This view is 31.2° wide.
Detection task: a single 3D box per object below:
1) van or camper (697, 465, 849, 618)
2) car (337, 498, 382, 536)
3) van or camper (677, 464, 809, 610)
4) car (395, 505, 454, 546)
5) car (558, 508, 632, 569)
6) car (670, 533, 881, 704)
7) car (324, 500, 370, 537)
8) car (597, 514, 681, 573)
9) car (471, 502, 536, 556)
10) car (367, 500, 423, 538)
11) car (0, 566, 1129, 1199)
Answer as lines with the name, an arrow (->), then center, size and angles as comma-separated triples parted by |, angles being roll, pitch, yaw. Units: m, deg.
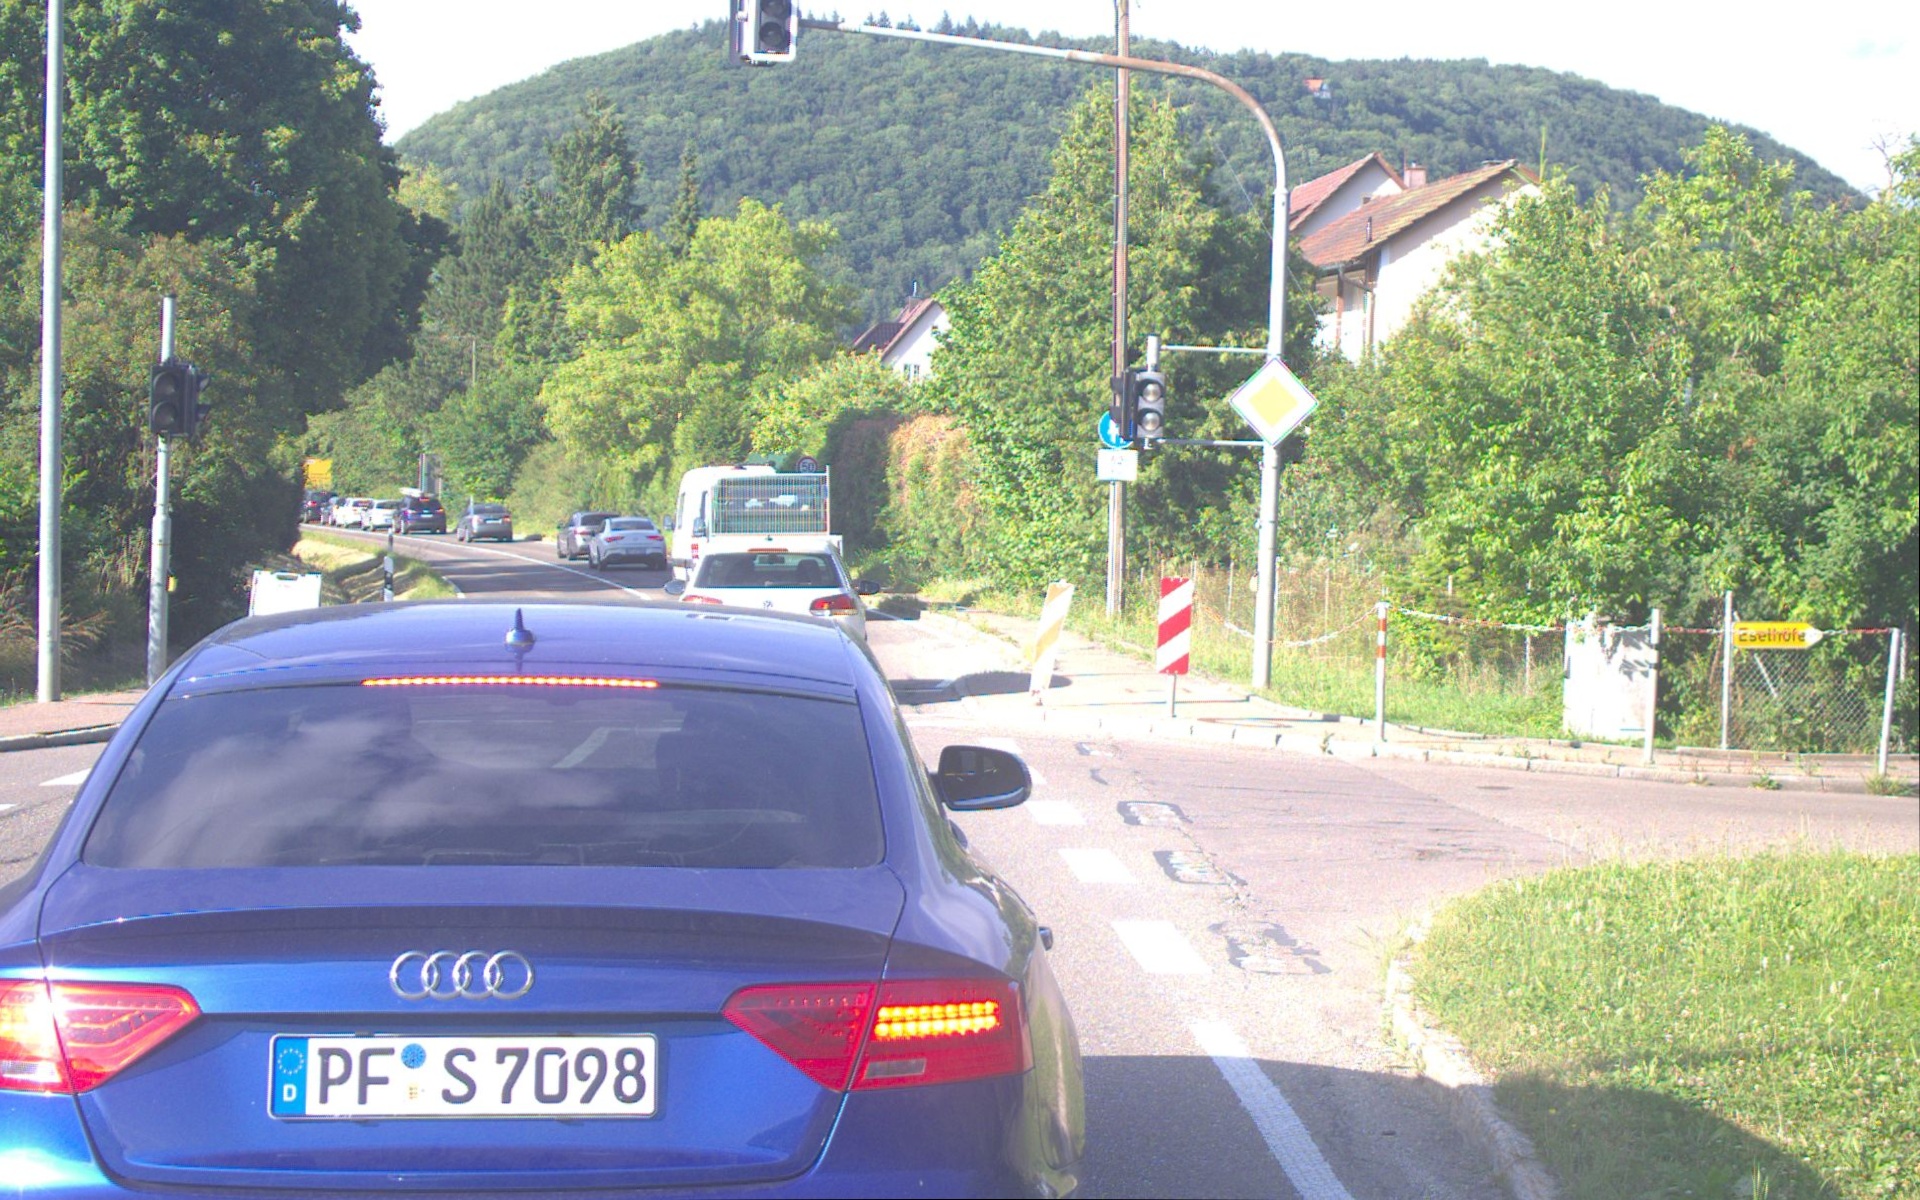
van or camper -> -3.119, -0.993, 56.297 | 2.179, 2.377, 5.371 | 0, 2, -6
car -> -28.858, -3.995, 165.118 | 1.748, 1.776, 4.001 | -1, 2, -16
van or camper -> -4.563, -1.345, 71.340 | 2.414, 2.894, 6.133 | 0, 2, -6
car -> -23.049, -3.216, 147.936 | 2.040, 1.678, 4.002 | 0, 2, -16
car -> -11.028, -1.860, 103.643 | 1.796, 1.787, 4.001 | -1, 2, -12
car -> -1.783, 0.124, 32.052 | 1.771, 1.410, 4.175 | 2, 1, -5
car -> -30.552, -4.066, 171.172 | 1.771, 1.776, 4.001 | -1, 2, -17
car -> -8.670, -1.533, 92.717 | 1.819, 1.546, 4.001 | 0, 2, -12
car -> -17.432, -2.732, 131.125 | 1.993, 2.007, 4.001 | 0, 2, -15
car -> -25.746, -3.686, 156.521 | 1.941, 1.678, 4.001 | -1, 1, -18
car -> -0.777, 0.675, 6.540 | 1.829, 1.404, 4.227 | -1, 1, -2
